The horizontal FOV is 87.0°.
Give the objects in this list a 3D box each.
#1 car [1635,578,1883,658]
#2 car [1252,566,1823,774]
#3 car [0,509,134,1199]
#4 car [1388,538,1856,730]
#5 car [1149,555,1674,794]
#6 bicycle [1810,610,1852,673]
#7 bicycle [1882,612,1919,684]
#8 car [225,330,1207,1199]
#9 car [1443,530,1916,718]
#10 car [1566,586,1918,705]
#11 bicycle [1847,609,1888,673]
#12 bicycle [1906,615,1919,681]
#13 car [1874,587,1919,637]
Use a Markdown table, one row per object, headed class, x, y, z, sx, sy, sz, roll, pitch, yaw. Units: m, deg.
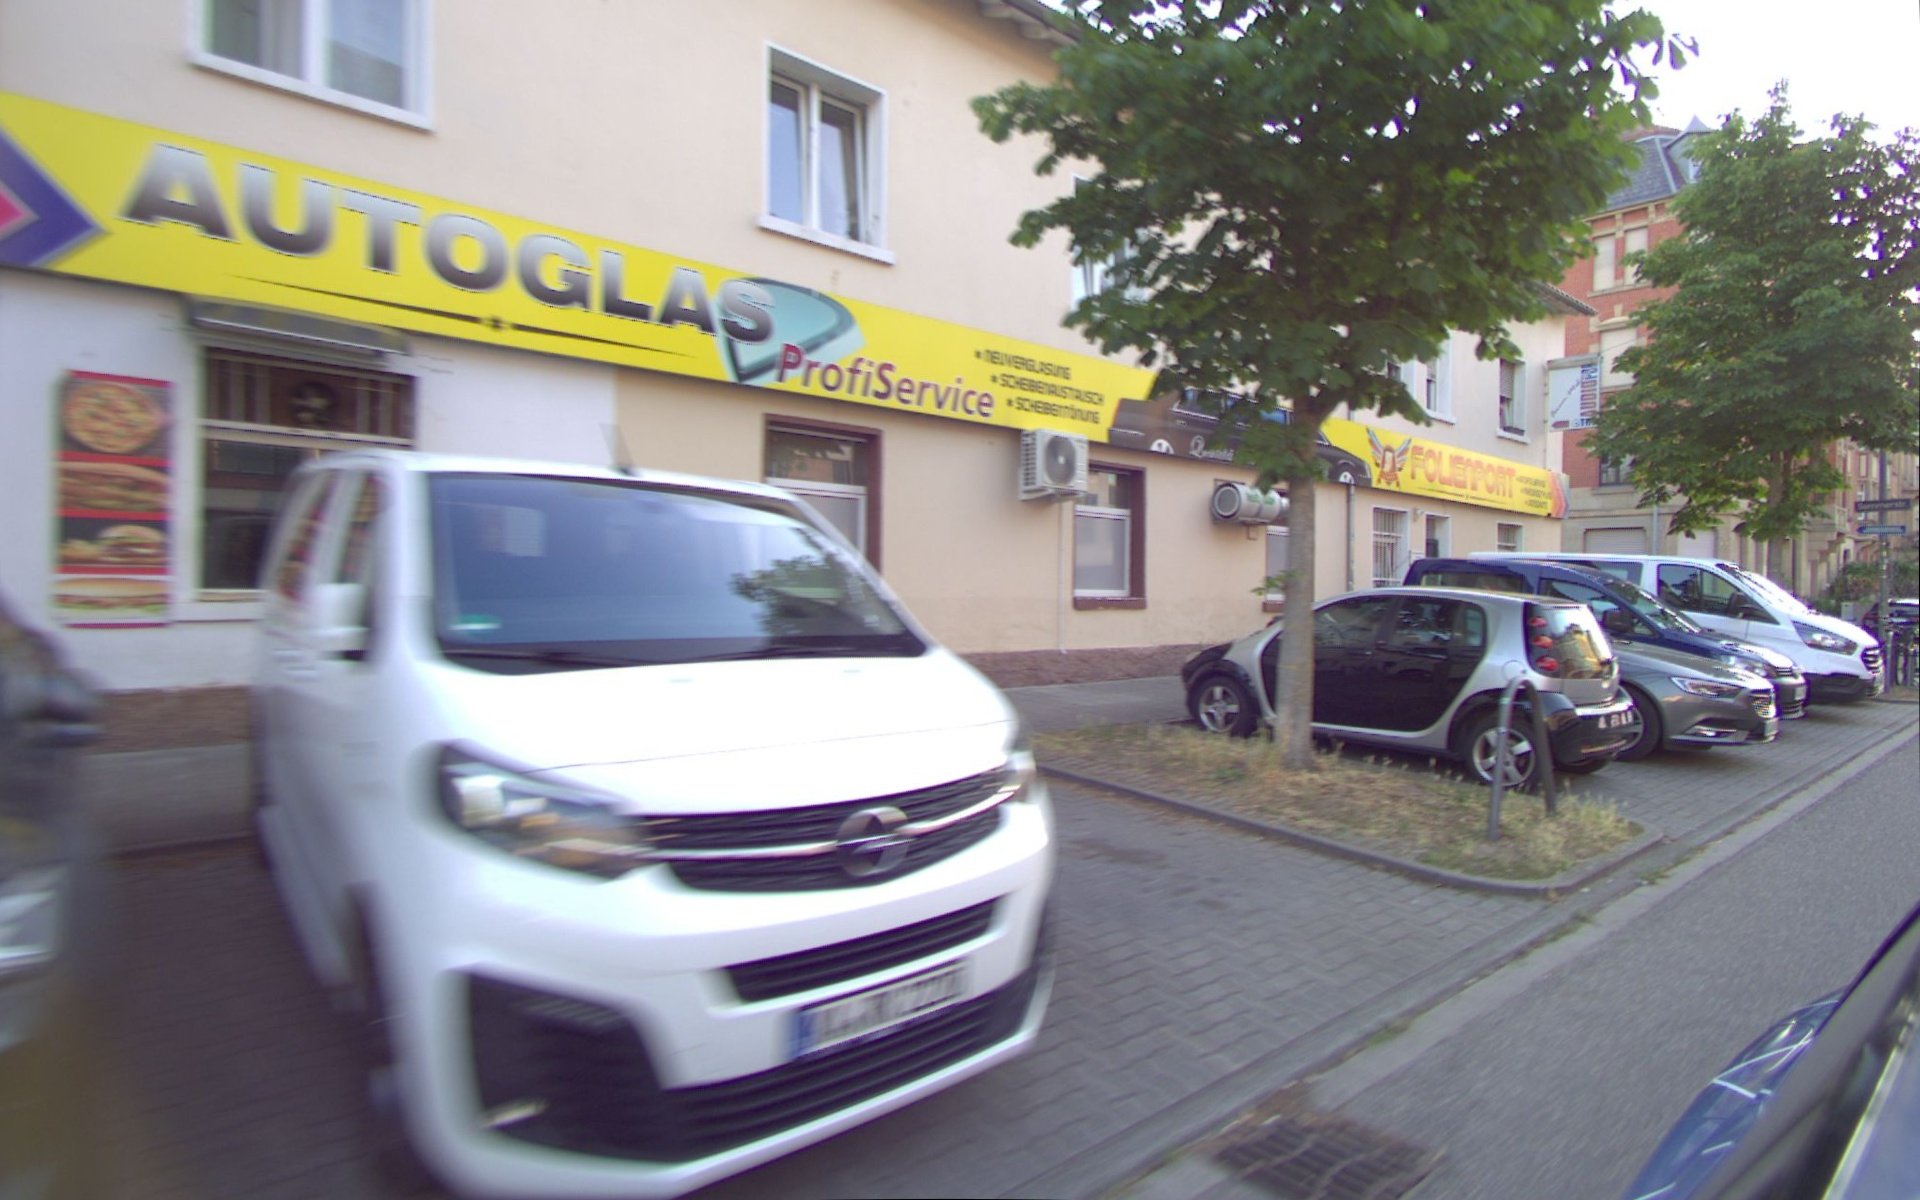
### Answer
| class | x | y | z | sx | sy | sz | roll | pitch | yaw |
| --- | --- | --- | --- | --- | --- | --- | --- | --- | --- |
| car | 17.798 | 0.334 | 22.707 | 1.770 | 1.509 | 4.001 | 1 | 2 | -36 |
| car | 5.665 | 0.496 | 10.493 | 1.965 | 1.514 | 4.731 | 0 | 3 | -41 |
| car | -3.315 | 0.535 | 2.590 | 1.858 | 1.513 | 3.999 | 0 | 5 | -39 |
| car | 7.793 | 0.234 | 12.314 | 1.963 | 1.881 | 4.305 | 0 | 3 | -38 |
| car | 3.707 | 0.444 | 8.820 | 1.652 | 1.514 | 3.792 | 0 | 3 | -42 |
| bicycle | 15.325 | 0.709 | 17.791 | 1.755 | 1.036 | 0.357 | 0 | 1 | -43 |
| bicycle | 14.602 | 0.713 | 15.646 | 1.755 | 1.036 | 0.357 | 0 | 1 | -43 |
| car | -1.558 | 0.281 | 4.049 | 1.976 | 1.883 | 4.601 | 0 | 6 | -39 |
| car | 9.700 | 0.217 | 14.089 | 2.111 | 2.127 | 4.975 | -1 | 1 | -36 |
| car | 11.866 | 0.593 | 15.578 | 1.691 | 1.586 | 4.040 | 0 | 0 | -40 |
| bicycle | 15.679 | 0.689 | 17.483 | 1.796 | 1.036 | 0.357 | 0 | 1 | -43 |
| bicycle | 16.181 | 0.785 | 16.947 | 1.938 | 1.036 | 0.357 | 0 | 1 | -43 |
| car | 30.971 | 0.365 | 32.686 | 3.932 | 1.543 | 1.797 | 0 | 1 | -43 |
